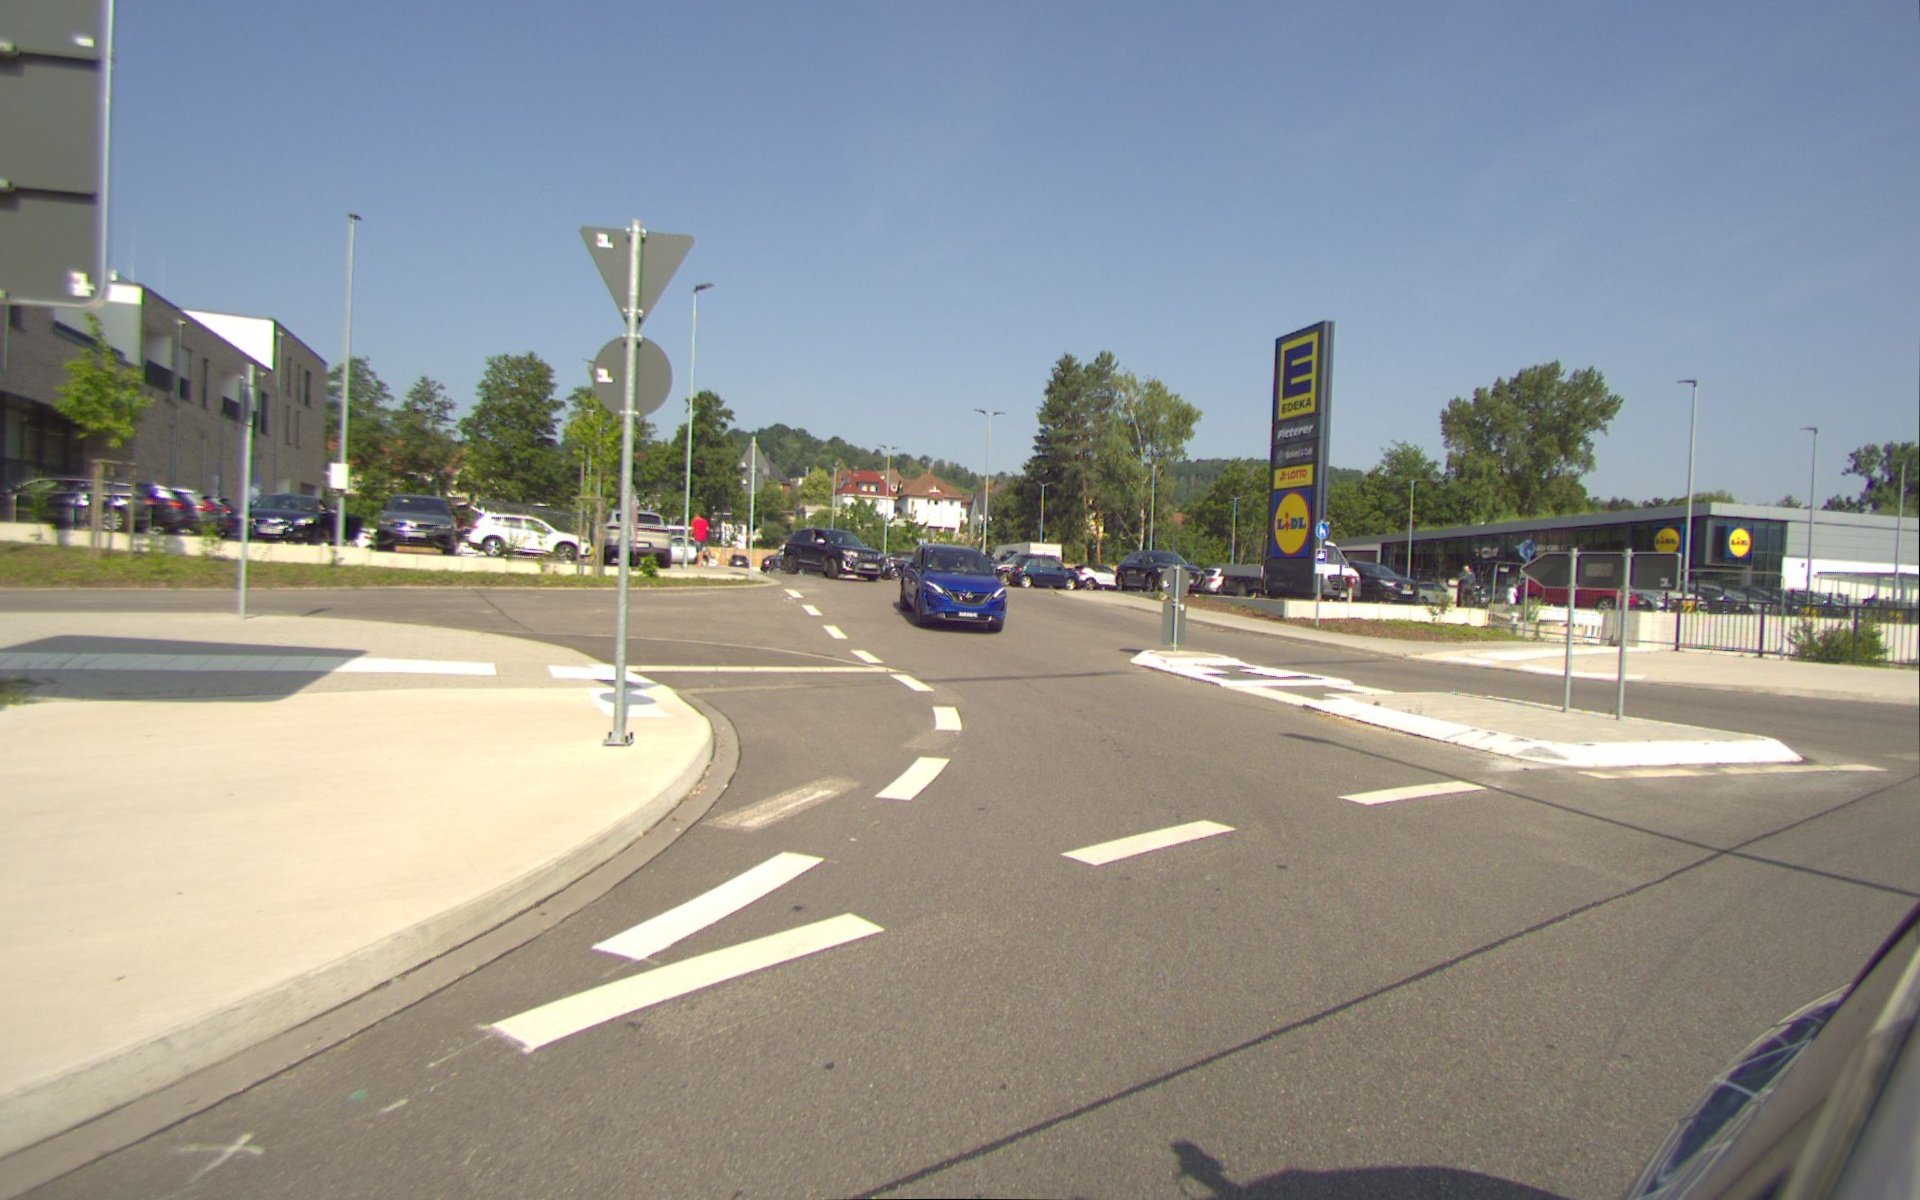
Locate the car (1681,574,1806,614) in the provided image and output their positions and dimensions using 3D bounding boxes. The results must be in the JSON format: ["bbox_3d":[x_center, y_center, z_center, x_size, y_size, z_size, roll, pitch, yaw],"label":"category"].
[{"bbox_3d":[34.013,-0.248,44.024,1.672,1.594,3.998,2,-1,-37],"label":"car"}]

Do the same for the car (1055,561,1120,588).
[{"bbox_3d":[8.210,-1.615,65.080,3.707,1.594,1.766,2,-1,-20],"label":"car"}]

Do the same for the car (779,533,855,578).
[{"bbox_3d":[-9.372,-2.898,66.165,4.549,2.651,2.004,2,-1,-20],"label":"car"}]

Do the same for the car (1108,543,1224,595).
[{"bbox_3d":[6.929,-0.997,34.664,1.882,1.550,4.869,2,-1,-15],"label":"car"}]

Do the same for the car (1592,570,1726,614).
[{"bbox_3d":[27.217,-0.275,39.511,1.672,1.594,3.998,2,-1,-37],"label":"car"}]

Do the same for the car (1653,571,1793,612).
[{"bbox_3d":[31.824,-0.325,42.323,1.672,1.594,4.413,2,-1,-37],"label":"car"}]

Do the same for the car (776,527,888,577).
[{"bbox_3d":[-4.212,-1.585,32.743,1.614,1.409,4.229,0,4,-39],"label":"car"}]

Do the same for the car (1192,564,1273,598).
[{"bbox_3d":[14.123,-0.941,52.460,3.707,1.594,1.669,2,-1,-20],"label":"car"}]

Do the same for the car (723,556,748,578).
[{"bbox_3d":[-19.111,-2.757,86.046,1.699,1.683,4.008,2,-1,-18],"label":"car"}]

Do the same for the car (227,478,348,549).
[{"bbox_3d":[-17.935,-2.305,27.201,1.819,1.574,4.472,4,3,-23],"label":"car"}]

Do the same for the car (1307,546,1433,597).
[{"bbox_3d":[14.682,-0.963,36.542,1.794,1.623,4.485,2,-1,-17],"label":"car"}]

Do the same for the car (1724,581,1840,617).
[{"bbox_3d":[38.839,-0.056,47.900,1.672,1.594,3.998,2,-1,-37],"label":"car"}]

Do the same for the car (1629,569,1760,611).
[{"bbox_3d":[29.766,-0.392,41.088,1.672,1.594,3.998,2,-1,-37],"label":"car"}]

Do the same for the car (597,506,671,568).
[{"bbox_3d":[-9.892,-1.925,30.476,1.819,1.574,4.835,4,3,-21],"label":"car"}]

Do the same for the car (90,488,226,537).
[{"bbox_3d":[-27.490,-2.975,34.790,3.262,1.368,1.551,2,-1,-17],"label":"car"}]

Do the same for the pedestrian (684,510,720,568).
[{"bbox_3d":[-8.255,-1.946,32.438,0.864,1.763,0.757,2,-2,-35],"label":"pedestrian"}]

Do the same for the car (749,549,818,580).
[{"bbox_3d":[-12.634,-2.535,72.519,4.549,2.001,2.004,2,-1,-20],"label":"car"}]

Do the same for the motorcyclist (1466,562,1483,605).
[{"bbox_3d":[19.058,-0.617,37.466,0.511,1.563,0.575,0,-2,32],"label":"motorcyclist"}]

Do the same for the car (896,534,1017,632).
[{"bbox_3d":[-0.204,-0.465,21.645,1.848,1.682,4.365,3,5,-9],"label":"car"}]

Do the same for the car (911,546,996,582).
[{"bbox_3d":[-0.305,-1.621,46.190,3.555,1.464,1.529,2,-1,-19],"label":"car"}]

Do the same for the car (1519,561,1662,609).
[{"bbox_3d":[22.763,-0.502,36.666,1.745,1.594,4.023,2,-1,-34],"label":"car"}]

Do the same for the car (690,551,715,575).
[{"bbox_3d":[-21.825,-3.107,85.812,1.730,1.839,4.008,2,-1,-18],"label":"car"}]

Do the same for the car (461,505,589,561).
[{"bbox_3d":[-17.036,-2.593,39.862,4.482,1.903,2.004,2,1,-22],"label":"car"}]

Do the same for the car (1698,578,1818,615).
[{"bbox_3d":[36.091,-0.141,45.832,1.672,1.594,3.998,2,-1,-37],"label":"car"}]

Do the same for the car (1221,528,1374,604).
[{"bbox_3d":[11.926,-1.089,36.316,2.017,2.414,6.104,2,-1,-17],"label":"car"}]

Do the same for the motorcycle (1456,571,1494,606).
[{"bbox_3d":[18.840,-0.412,37.065,0.580,1.206,1.899,2,0,6],"label":"motorcycle"}]

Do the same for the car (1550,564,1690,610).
[{"bbox_3d":[24.610,-0.441,37.866,1.745,1.594,4.023,2,-1,-34],"label":"car"}]

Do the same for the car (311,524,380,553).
[{"bbox_3d":[-35.038,-3.482,57.807,3.265,1.368,1.629,2,-1,-30],"label":"car"}]

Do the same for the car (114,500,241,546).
[{"bbox_3d":[-28.219,-2.758,36.594,3.262,1.368,1.587,2,-1,-17],"label":"car"}]

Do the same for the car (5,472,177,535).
[{"bbox_3d":[-23.612,-2.586,27.650,3.264,1.368,1.493,2,-1,-28],"label":"car"}]

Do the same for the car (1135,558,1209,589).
[{"bbox_3d":[12.064,-1.484,57.661,3.707,1.594,1.766,2,-1,-20],"label":"car"}]

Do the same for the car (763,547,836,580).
[{"bbox_3d":[-10.912,-2.463,68.766,4.549,2.001,2.004,2,-1,-20],"label":"car"}]

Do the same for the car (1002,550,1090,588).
[{"bbox_3d":[4.060,-1.449,47.738,3.707,1.594,1.766,2,-1,-20],"label":"car"}]

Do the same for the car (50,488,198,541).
[{"bbox_3d":[-26.445,-2.691,32.117,3.262,1.368,1.494,2,-1,-20],"label":"car"}]

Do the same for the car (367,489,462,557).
[{"bbox_3d":[-14.969,-2.123,27.981,1.819,1.574,4.472,4,3,-23],"label":"car"}]

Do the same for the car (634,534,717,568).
[{"bbox_3d":[-12.609,-2.138,44.870,3.265,1.368,1.630,1,0,-29],"label":"car"}]

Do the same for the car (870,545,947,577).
[{"bbox_3d":[-2.478,-1.849,48.682,3.297,1.391,1.528,2,0,-28],"label":"car"}]

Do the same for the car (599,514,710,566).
[{"bbox_3d":[-14.166,-2.716,46.944,4.554,2.039,2.001,2,-1,-31],"label":"car"}]
